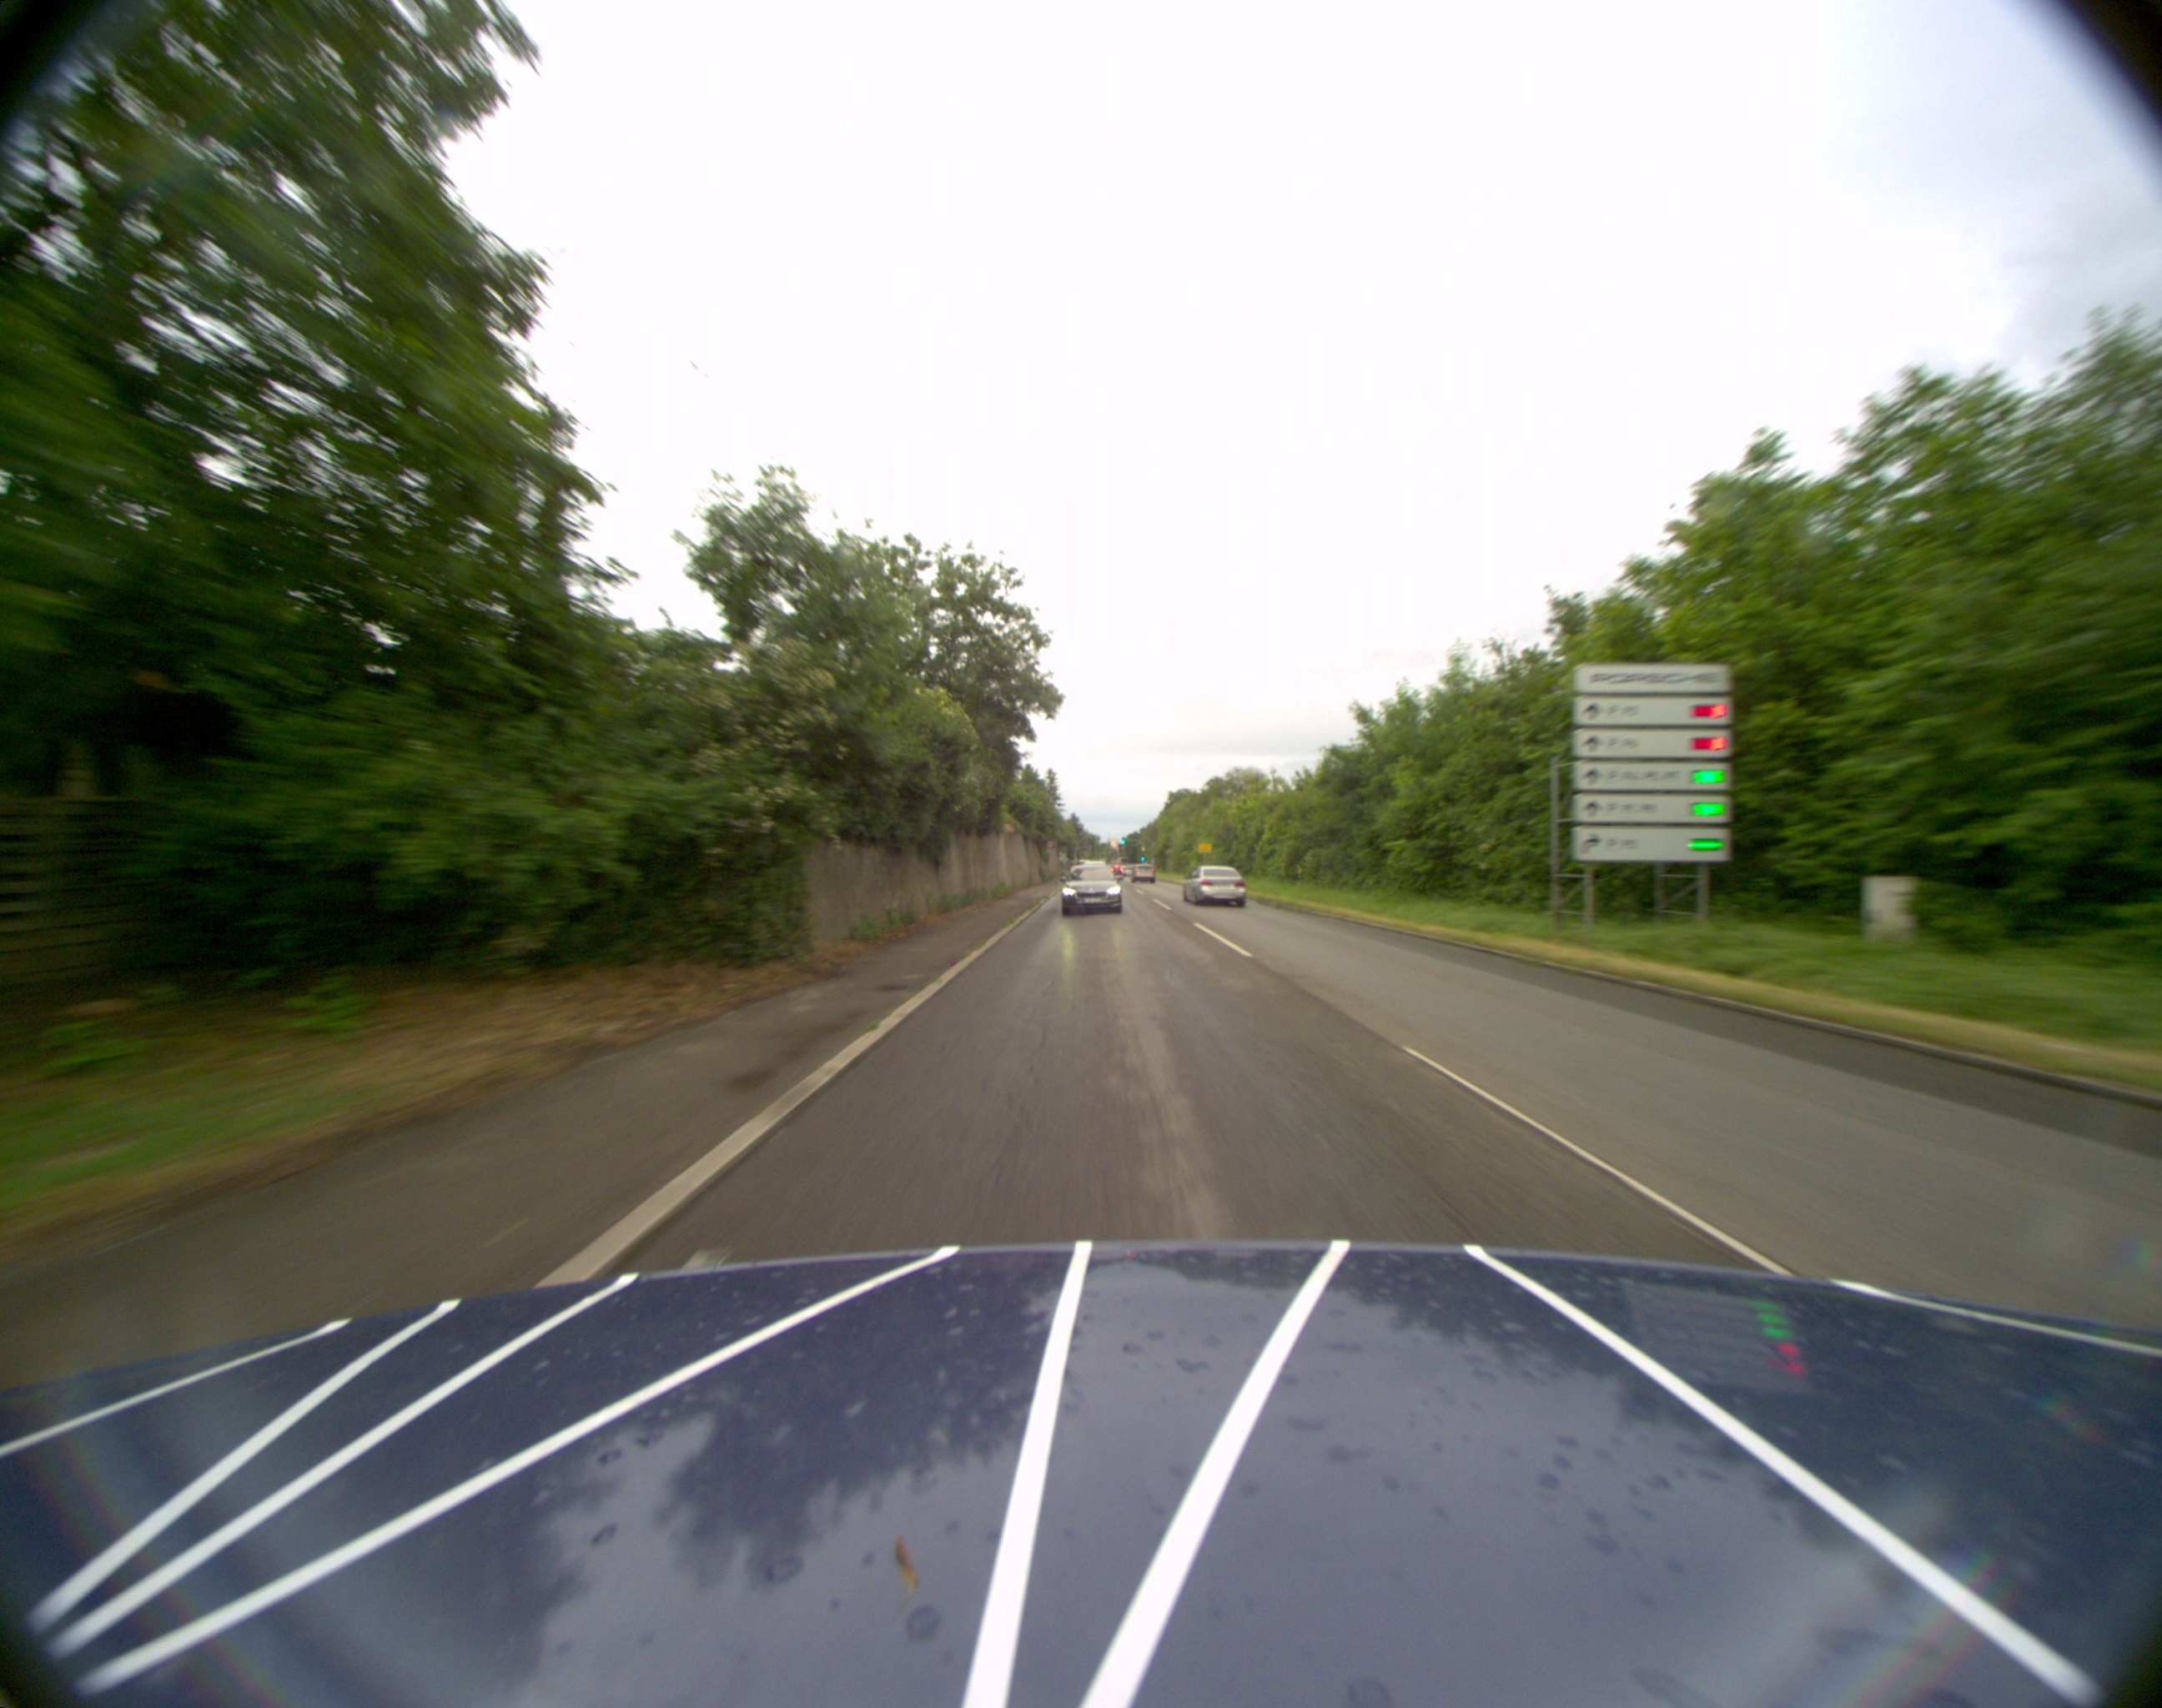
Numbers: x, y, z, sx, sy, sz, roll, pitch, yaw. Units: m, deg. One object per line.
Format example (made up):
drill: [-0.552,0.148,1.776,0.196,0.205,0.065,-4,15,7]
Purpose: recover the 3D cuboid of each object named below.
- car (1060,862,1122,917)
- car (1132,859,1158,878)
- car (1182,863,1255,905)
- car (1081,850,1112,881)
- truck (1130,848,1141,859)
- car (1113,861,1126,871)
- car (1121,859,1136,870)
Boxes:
car: [0.320,1.017,23.510,1.675,1.477,4.215,-3,0,1]
car: [5.072,1.146,60.590,1.830,1.411,4.320,0,0,1]
car: [4.945,1.032,27.912,1.896,1.346,4.381,-1,0,0]
car: [0.897,0.648,45.413,1.704,1.724,3.999,-1,0,0]
truck: [12.958,-0.048,180.713,2.479,2.494,5.640,1,0,5]
car: [6.048,1.901,120.531,1.737,1.584,4.282,1,0,0]
car: [6.327,1.344,101.223,1.806,1.423,4.179,1,0,2]
